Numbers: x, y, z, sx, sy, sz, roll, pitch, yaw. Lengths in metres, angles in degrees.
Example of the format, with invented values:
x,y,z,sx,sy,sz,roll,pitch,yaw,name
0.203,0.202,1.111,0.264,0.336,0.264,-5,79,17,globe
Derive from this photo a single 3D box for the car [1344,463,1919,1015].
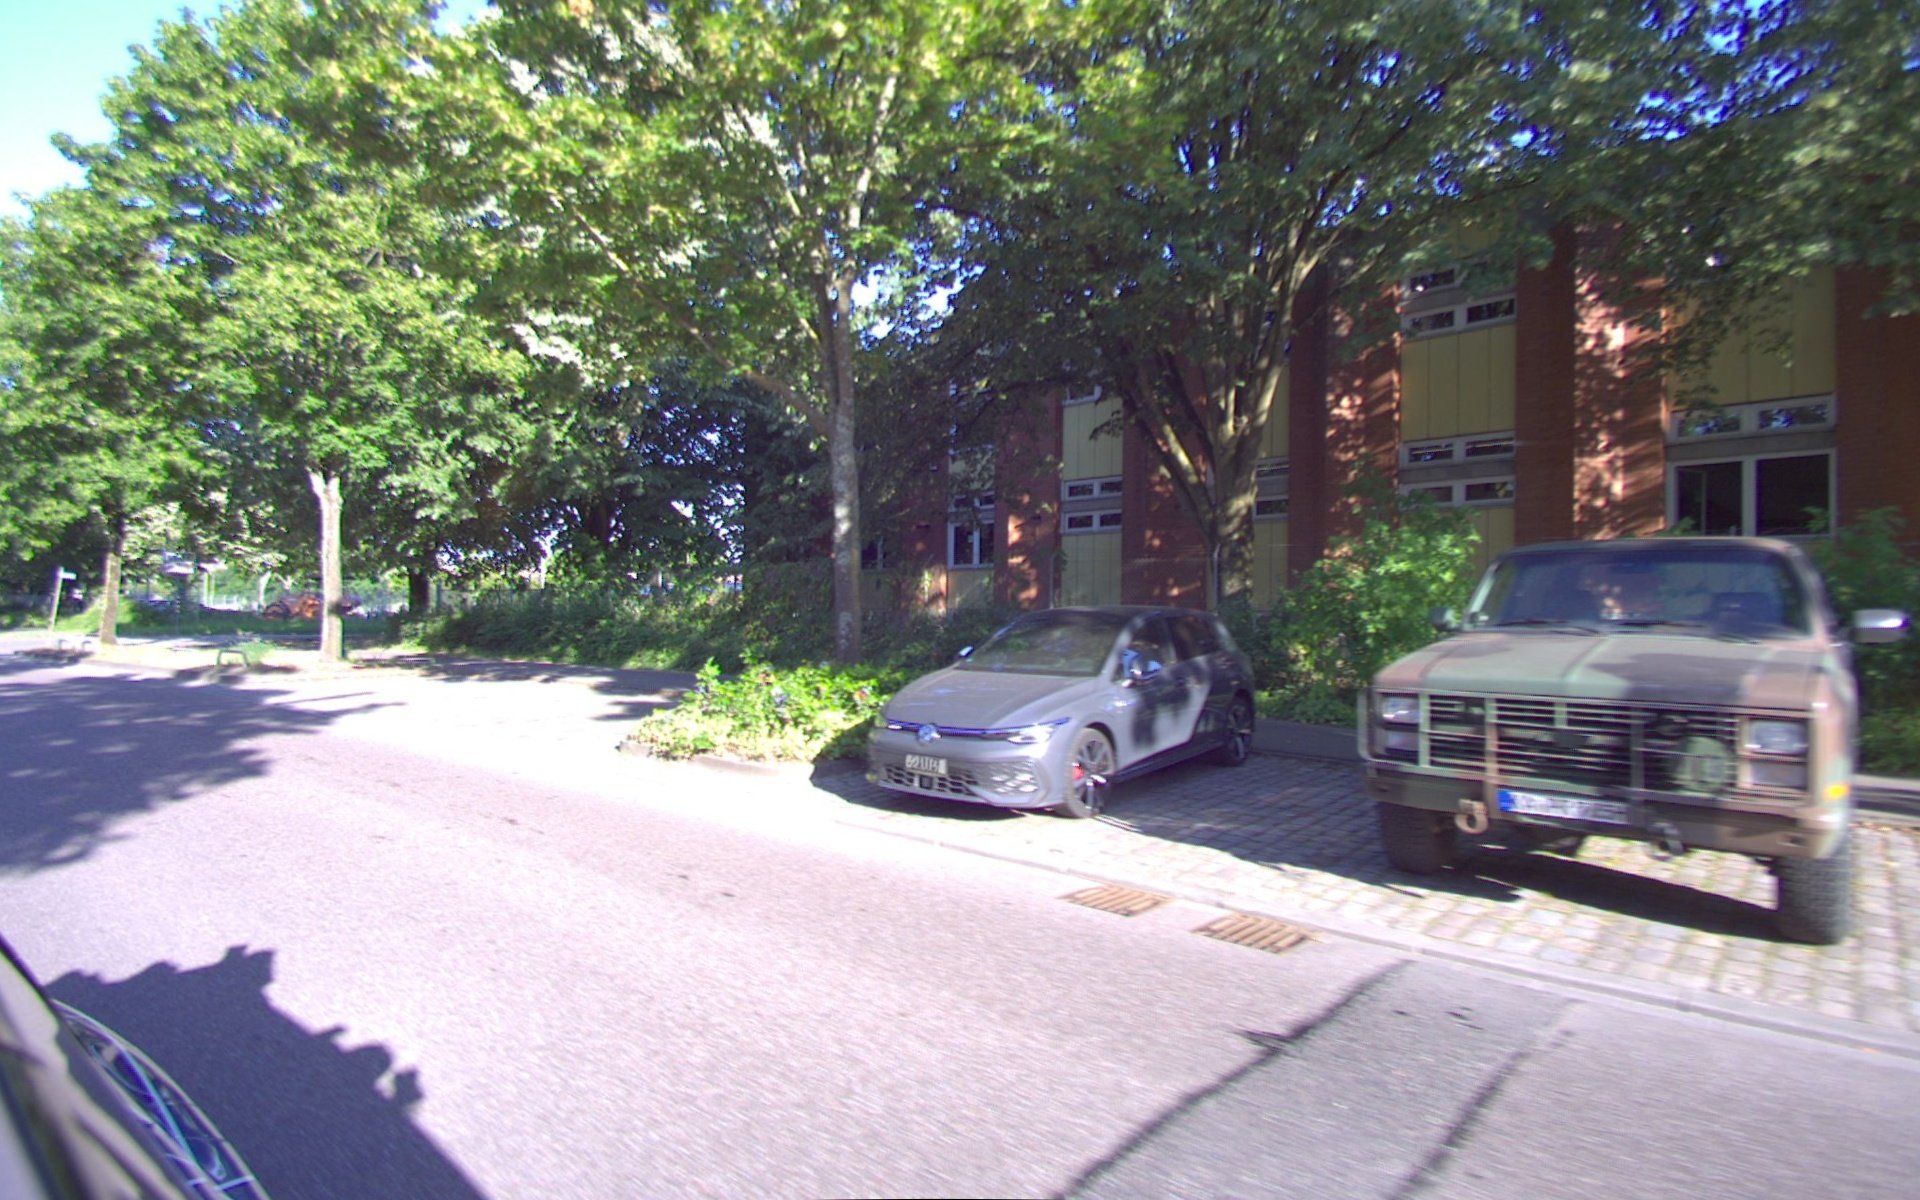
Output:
x,y,z,sx,sy,sz,roll,pitch,yaw,name
4.330,0.502,6.294,2.172,2.035,4.955,-1,0,39,car

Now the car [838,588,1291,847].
x,y,z,sx,sy,sz,roll,pitch,yaw,name
1.102,0.702,8.330,1.704,1.541,4.170,0,1,39,car

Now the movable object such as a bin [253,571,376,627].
x,y,z,sx,sy,sz,roll,pitch,yaw,name
-32.460,-0.029,51.011,4.733,2.685,2.166,1,-2,-3,movable object such as a bin
